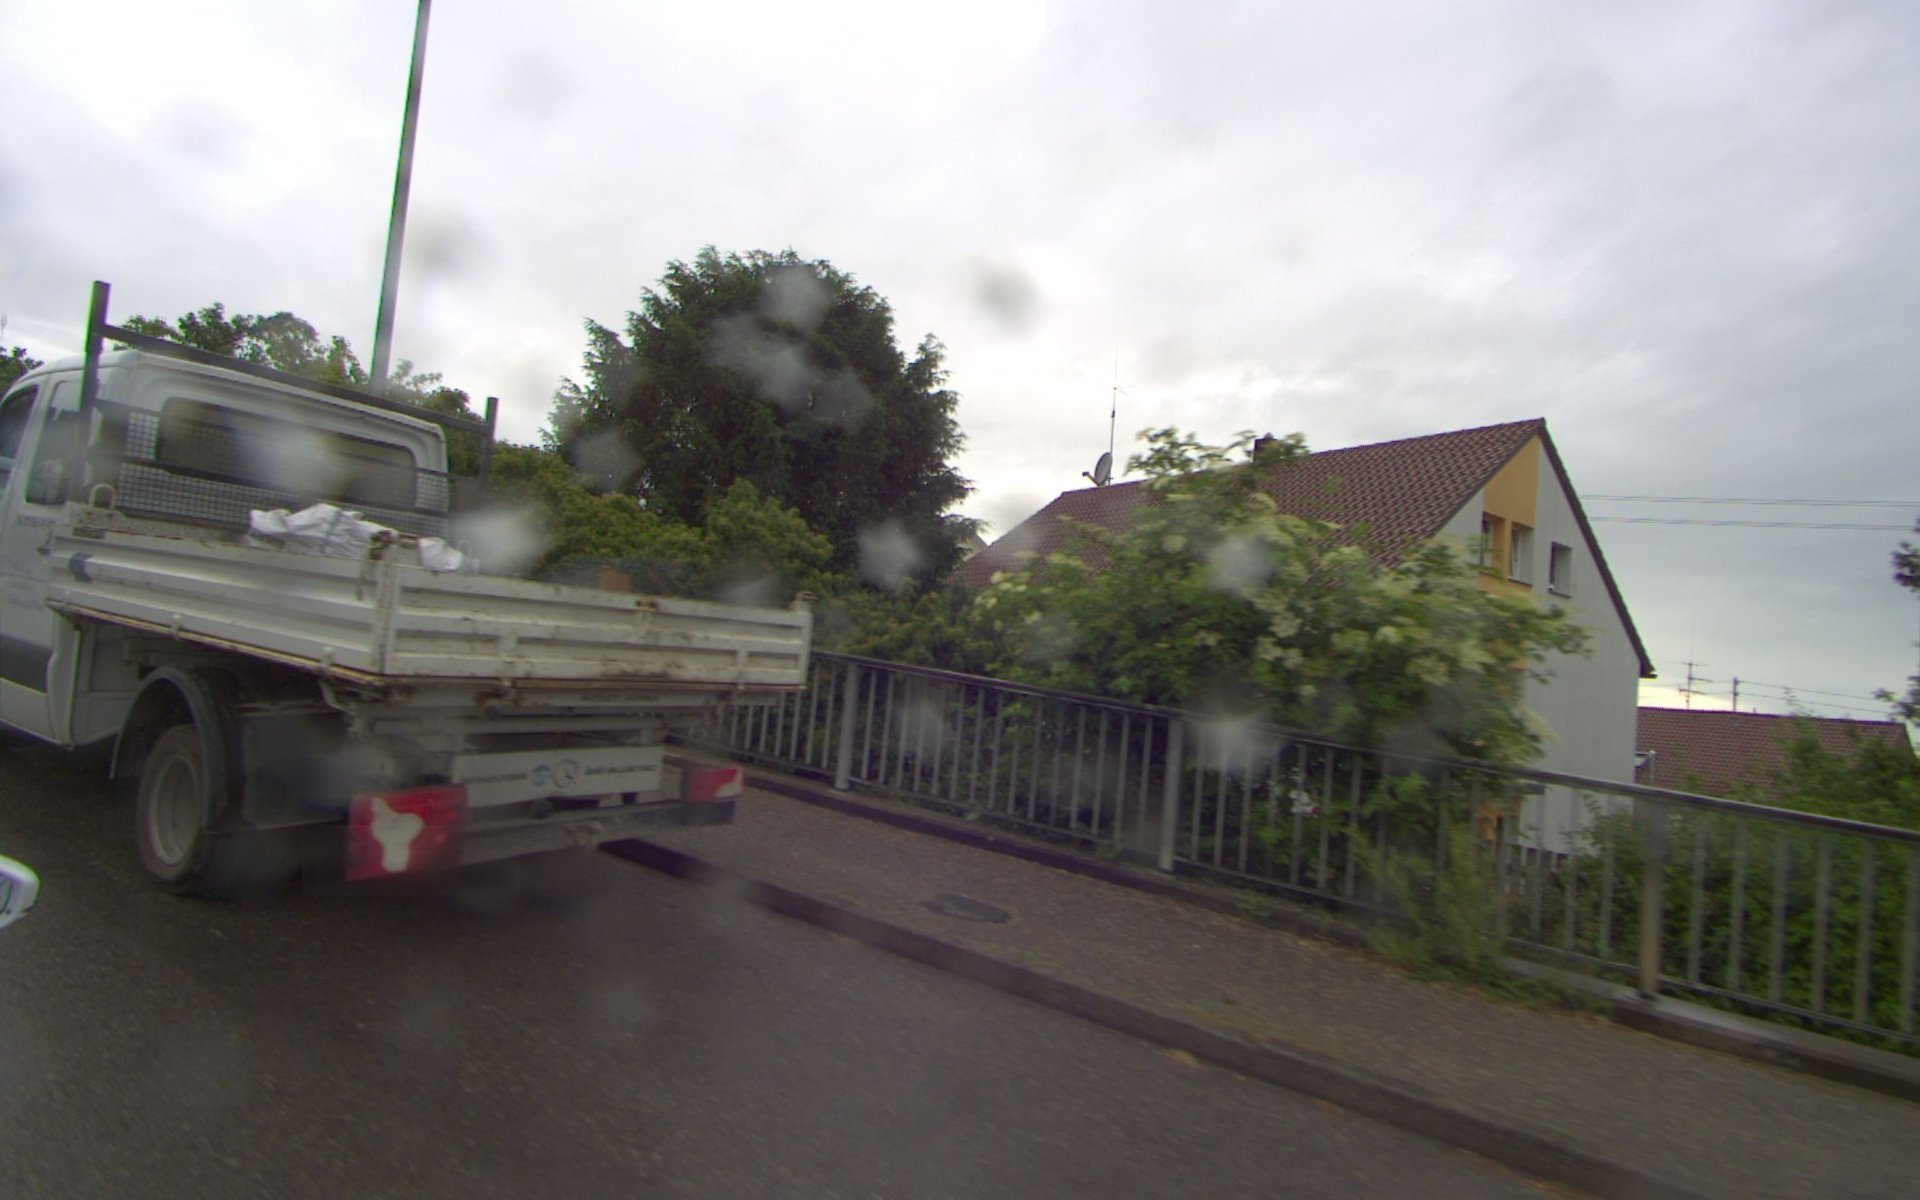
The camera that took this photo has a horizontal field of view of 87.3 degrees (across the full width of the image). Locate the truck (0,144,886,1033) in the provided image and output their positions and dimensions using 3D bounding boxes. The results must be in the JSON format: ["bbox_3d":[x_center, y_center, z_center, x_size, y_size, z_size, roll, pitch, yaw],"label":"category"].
[{"bbox_3d":[-3.790,-0.229,5.678,6.431,2.663,2.242,6,-1,33],"label":"truck"}]

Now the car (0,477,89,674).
[{"bbox_3d":[-10.099,-0.448,9.207,4.588,1.623,1.762,6,-1,31],"label":"car"}]
